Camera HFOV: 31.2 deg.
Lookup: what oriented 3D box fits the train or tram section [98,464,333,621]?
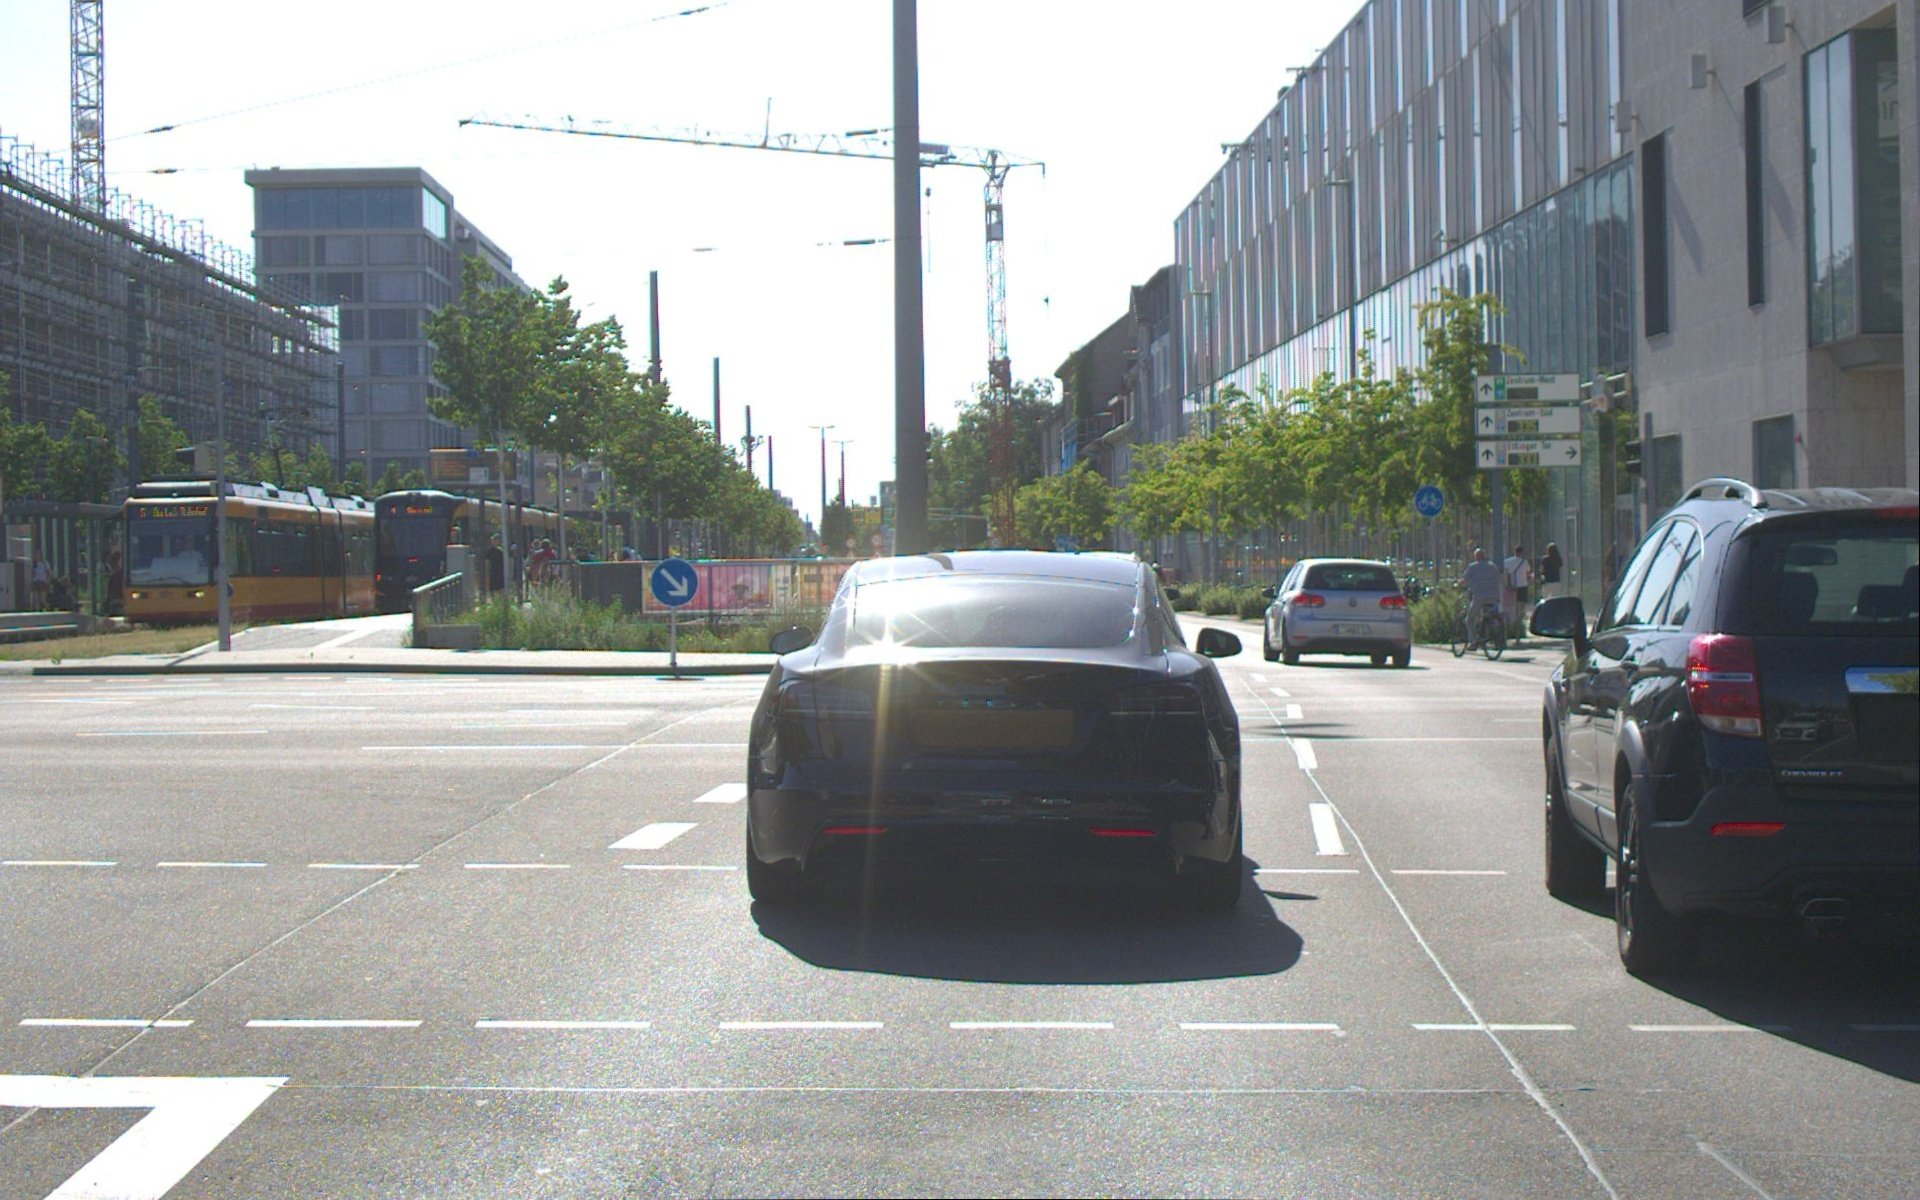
[{"bbox_3d":[-17.054,-1.304,79.756,2.870,3.298,13.074,1,1,-1],"label":"train or tram section"}]

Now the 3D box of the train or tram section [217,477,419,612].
[{"bbox_3d":[-17.385,-1.516,94.292,2.847,3.310,15.967,1,1,-1],"label":"train or tram section"}]

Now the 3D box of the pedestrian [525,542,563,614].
[{"bbox_3d":[-9.511,-0.496,78.574,0.741,1.623,0.861,-1,0,0],"label":"pedestrian"}]

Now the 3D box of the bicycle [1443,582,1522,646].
[{"bbox_3d":[8.372,0.210,55.171,0.728,0.980,2.333,-1,1,-5],"label":"bicycle"}]

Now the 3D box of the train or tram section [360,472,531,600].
[{"bbox_3d":[-14.385,-1.766,97.314,2.870,3.268,15.186,1,1,-1],"label":"train or tram section"}]

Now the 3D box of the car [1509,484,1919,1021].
[{"bbox_3d":[3.202,0.441,13.020,1.785,1.693,4.412,0,1,3],"label":"car"}]

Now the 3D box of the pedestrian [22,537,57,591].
[{"bbox_3d":[-21.132,-0.829,78.902,0.671,1.222,0.506,1,0,-4],"label":"pedestrian"}]

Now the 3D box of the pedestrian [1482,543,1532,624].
[{"bbox_3d":[11.345,-0.351,71.317,0.821,1.652,0.900,-1,1,-5],"label":"pedestrian"}]

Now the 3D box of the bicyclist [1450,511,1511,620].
[{"bbox_3d":[8.354,-0.553,55.236,0.724,1.731,0.998,-1,0,-5],"label":"bicyclist"}]

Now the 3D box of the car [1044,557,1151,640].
[{"bbox_3d":[2.443,-0.051,61.882,1.716,1.427,4.000,0,1,0],"label":"car"}]

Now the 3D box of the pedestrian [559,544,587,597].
[{"bbox_3d":[-11.936,-0.902,105.980,0.741,1.623,0.861,-1,0,0],"label":"pedestrian"}]

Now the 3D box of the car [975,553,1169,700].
[{"bbox_3d":[1.036,0.211,33.440,1.716,1.315,4.000,0,1,0],"label":"car"}]

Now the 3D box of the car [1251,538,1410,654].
[{"bbox_3d":[5.143,-0.089,48.144,1.784,1.540,4.039,0,1,0],"label":"car"}]

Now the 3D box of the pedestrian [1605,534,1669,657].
[{"bbox_3d":[9.634,-0.070,48.916,0.657,1.696,0.698,-3,1,-3],"label":"pedestrian"}]

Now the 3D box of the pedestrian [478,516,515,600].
[{"bbox_3d":[-9.897,-0.905,73.438,0.703,1.769,0.959,1,1,-4],"label":"pedestrian"}]

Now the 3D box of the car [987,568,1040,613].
[{"bbox_3d":[1.992,-0.375,127.389,1.888,1.590,4.000,-1,1,2],"label":"car"}]

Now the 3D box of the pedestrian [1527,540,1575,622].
[{"bbox_3d":[12.208,-0.404,71.048,0.706,1.652,0.900,-3,1,-5],"label":"pedestrian"}]

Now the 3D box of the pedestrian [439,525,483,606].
[{"bbox_3d":[-11.097,-0.769,76.451,0.874,1.769,1.189,1,1,-4],"label":"pedestrian"}]

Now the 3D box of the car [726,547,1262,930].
[{"bbox_3d":[0.126,0.487,15.022,1.999,1.429,4.413,0,1,0],"label":"car"}]

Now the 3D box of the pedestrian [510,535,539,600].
[{"bbox_3d":[-12.173,-0.903,96.015,0.671,1.804,1.075,-1,0,-2],"label":"pedestrian"}]

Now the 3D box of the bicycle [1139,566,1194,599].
[{"bbox_3d":[7.648,-0.651,127.128,1.881,1.147,0.672,-3,1,-11],"label":"bicycle"}]
